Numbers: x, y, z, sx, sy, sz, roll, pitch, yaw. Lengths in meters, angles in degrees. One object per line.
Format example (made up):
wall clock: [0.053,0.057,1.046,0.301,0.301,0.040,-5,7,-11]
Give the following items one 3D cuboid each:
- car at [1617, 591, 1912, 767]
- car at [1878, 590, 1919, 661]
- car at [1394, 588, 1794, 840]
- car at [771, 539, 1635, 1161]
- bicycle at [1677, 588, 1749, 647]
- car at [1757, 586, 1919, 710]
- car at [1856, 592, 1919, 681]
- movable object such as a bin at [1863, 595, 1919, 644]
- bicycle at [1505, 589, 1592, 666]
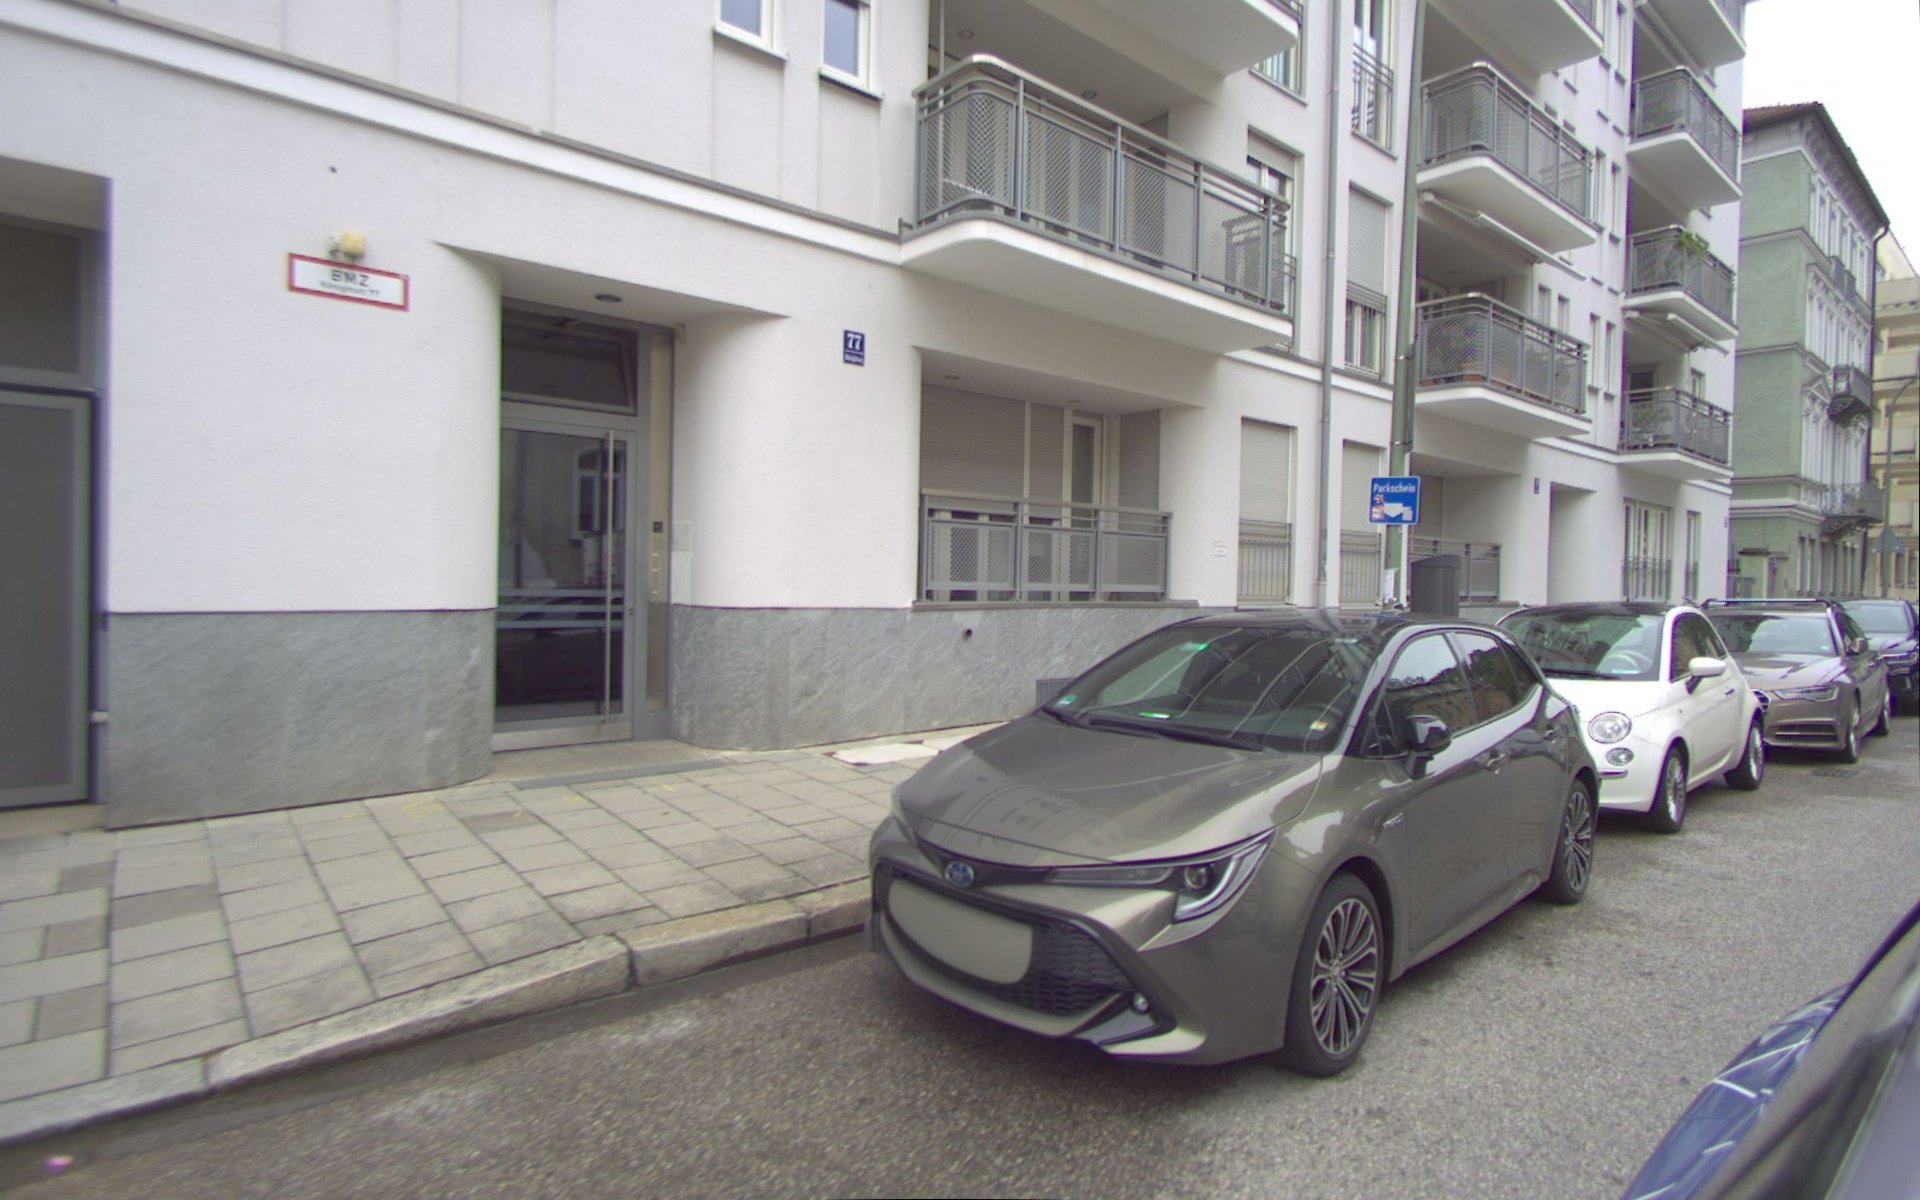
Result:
car: [8.717,0.658,10.807,4.525,1.501,1.793,0,0,-43]
car: [20.966,0.535,21.615,3.656,1.441,1.717,0,0,-43]
car: [5.007,0.664,7.808,3.681,1.485,1.620,0,0,-41]
car: [1.415,0.589,4.513,4.147,1.494,1.773,0,1,-43]
bicycle: [15.939,0.355,21.400,1.939,1.186,0.803,0,1,-40]
car: [13.017,0.597,14.608,3.954,1.552,1.839,0,0,-43]
car: [17.584,0.611,18.264,4.301,1.485,1.666,0,0,-42]
movable object such as a bin: [25.132,0.499,27.140,2.125,1.207,1.023,0,4,-40]
bicycle: [9.358,0.417,16.064,1.778,1.111,0.570,0,4,-41]
